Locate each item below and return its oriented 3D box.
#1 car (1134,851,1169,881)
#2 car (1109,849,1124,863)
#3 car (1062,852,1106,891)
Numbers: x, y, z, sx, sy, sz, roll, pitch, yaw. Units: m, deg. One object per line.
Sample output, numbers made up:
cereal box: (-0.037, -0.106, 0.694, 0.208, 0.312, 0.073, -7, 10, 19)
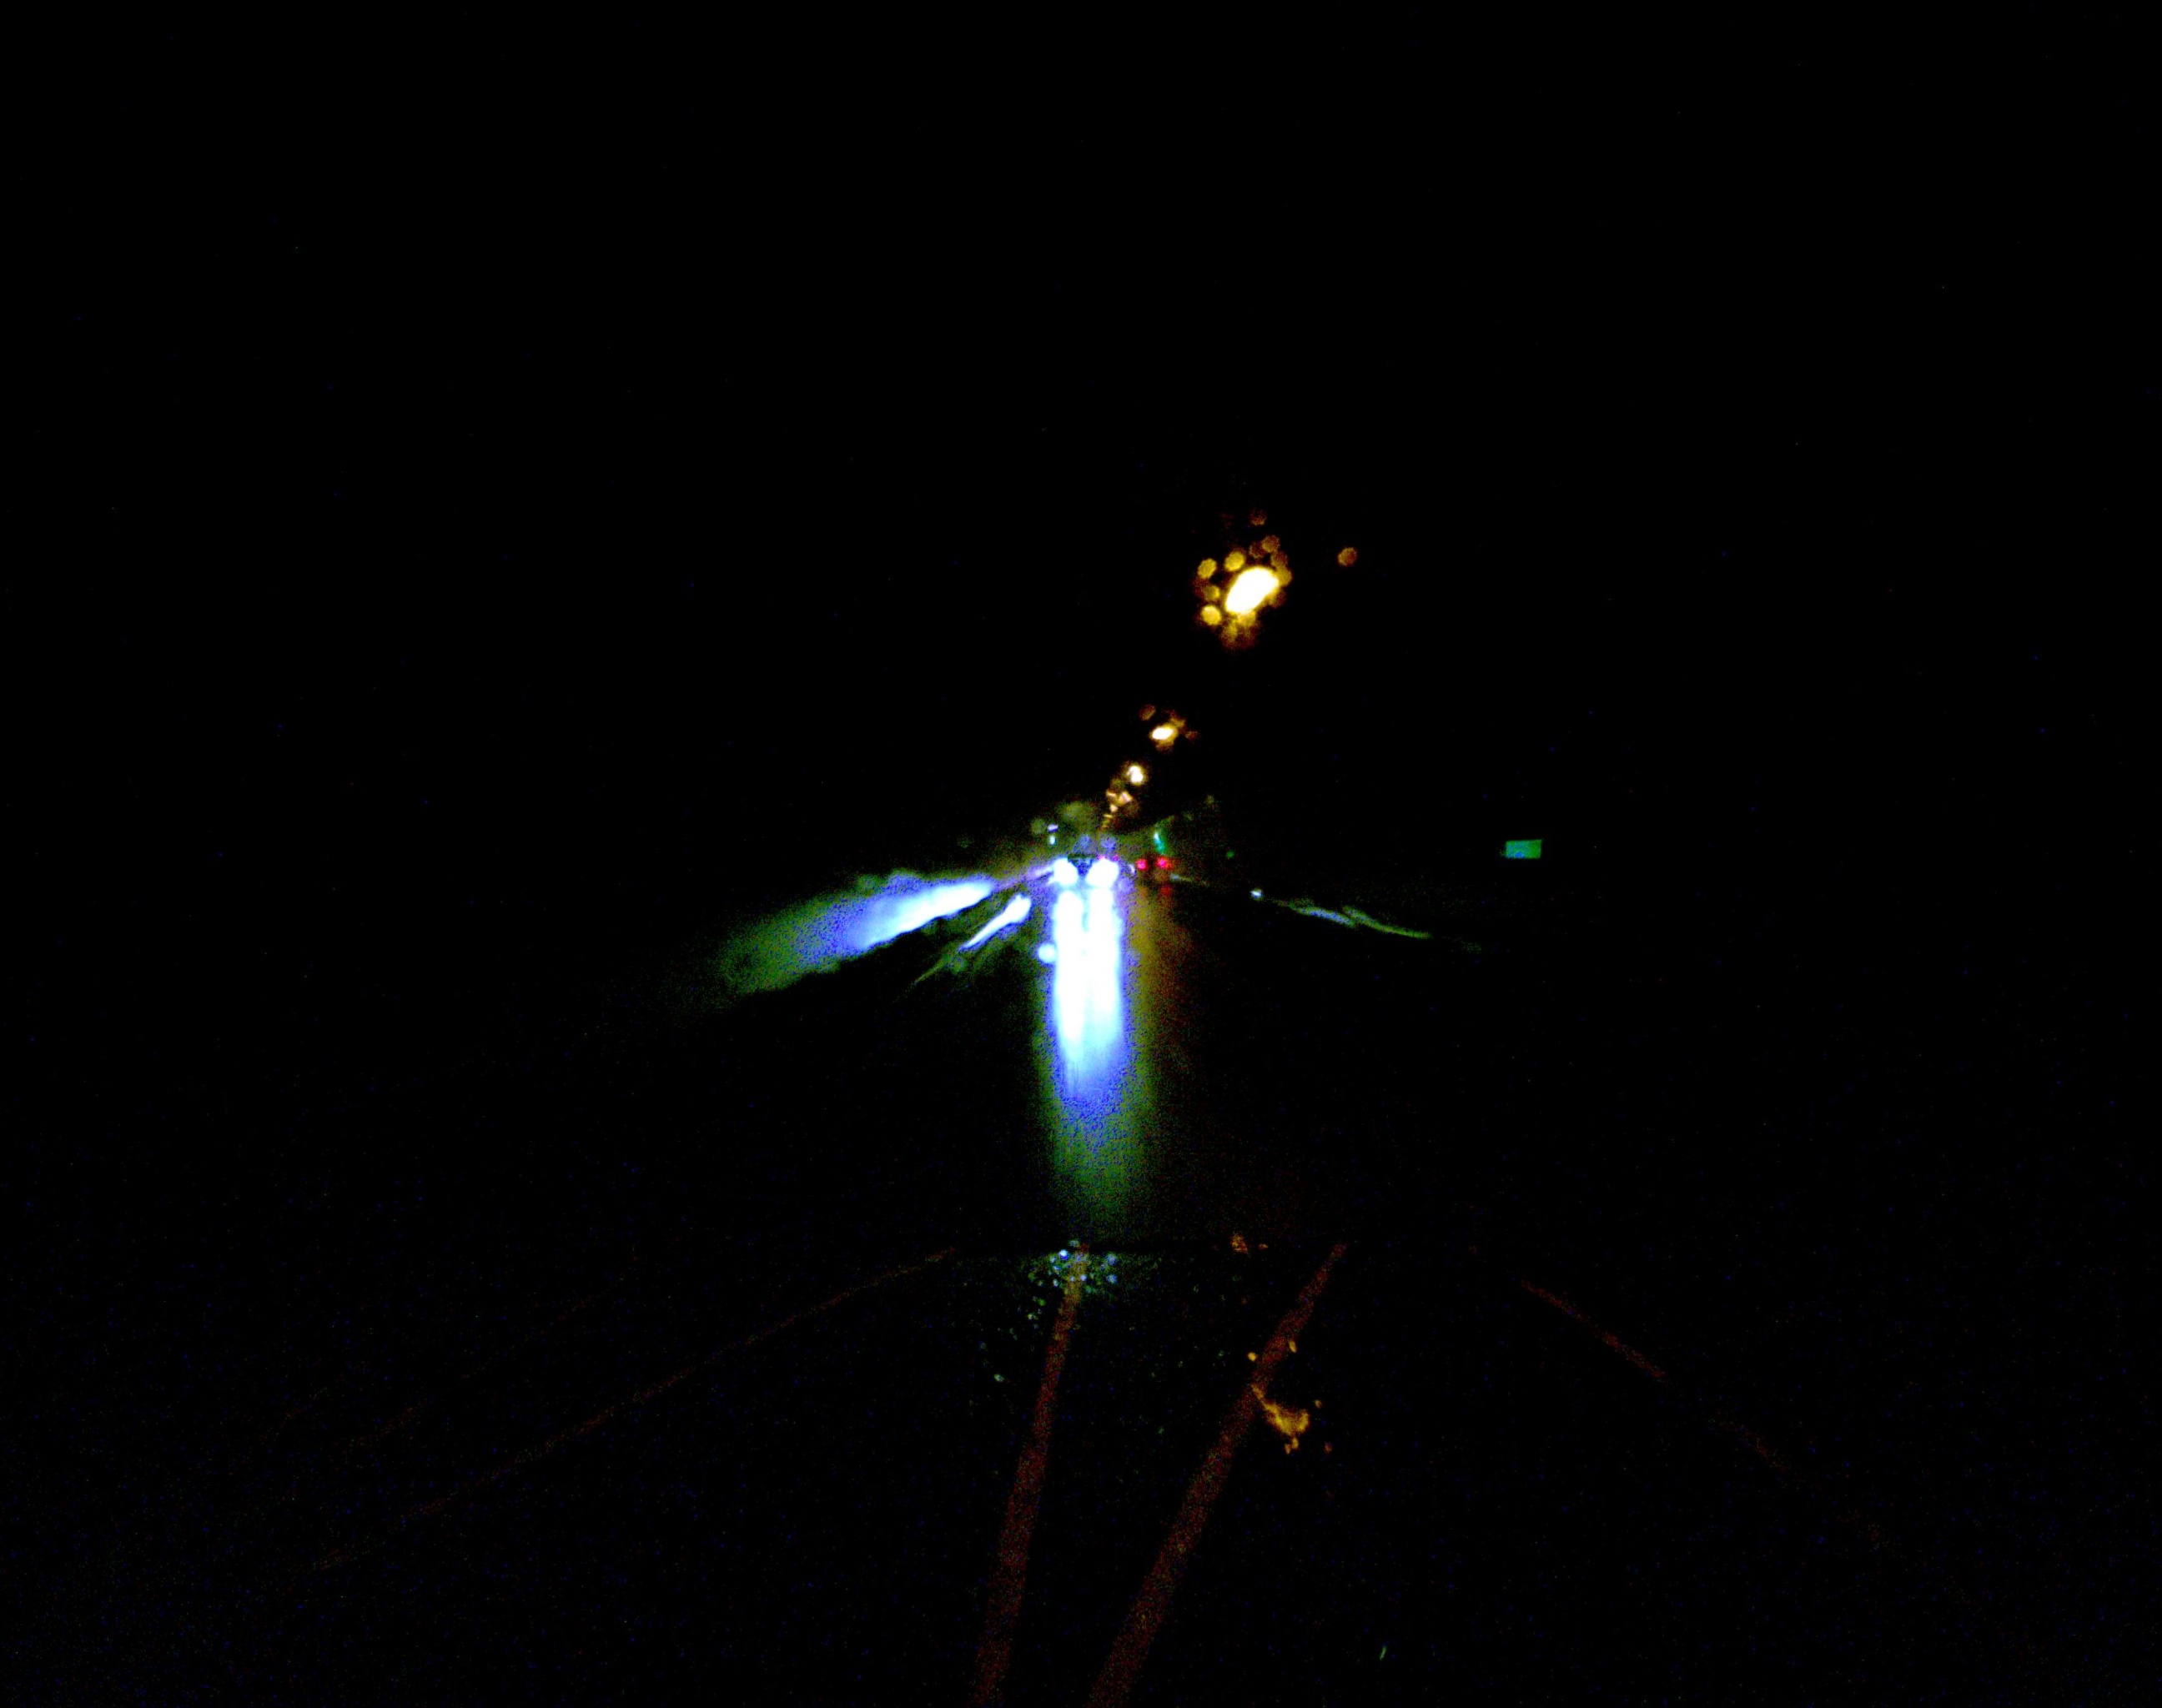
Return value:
car: (3.915, 0.626, 42.602, 1.602, 1.604, 3.995, -1, 0, 1)
car: (5.121, 0.306, 109.778, 2.090, 2.002, 4.559, -1, 0, 1)
car: (0.159, 0.748, 34.069, 1.829, 1.650, 3.929, 0, 0, 1)
